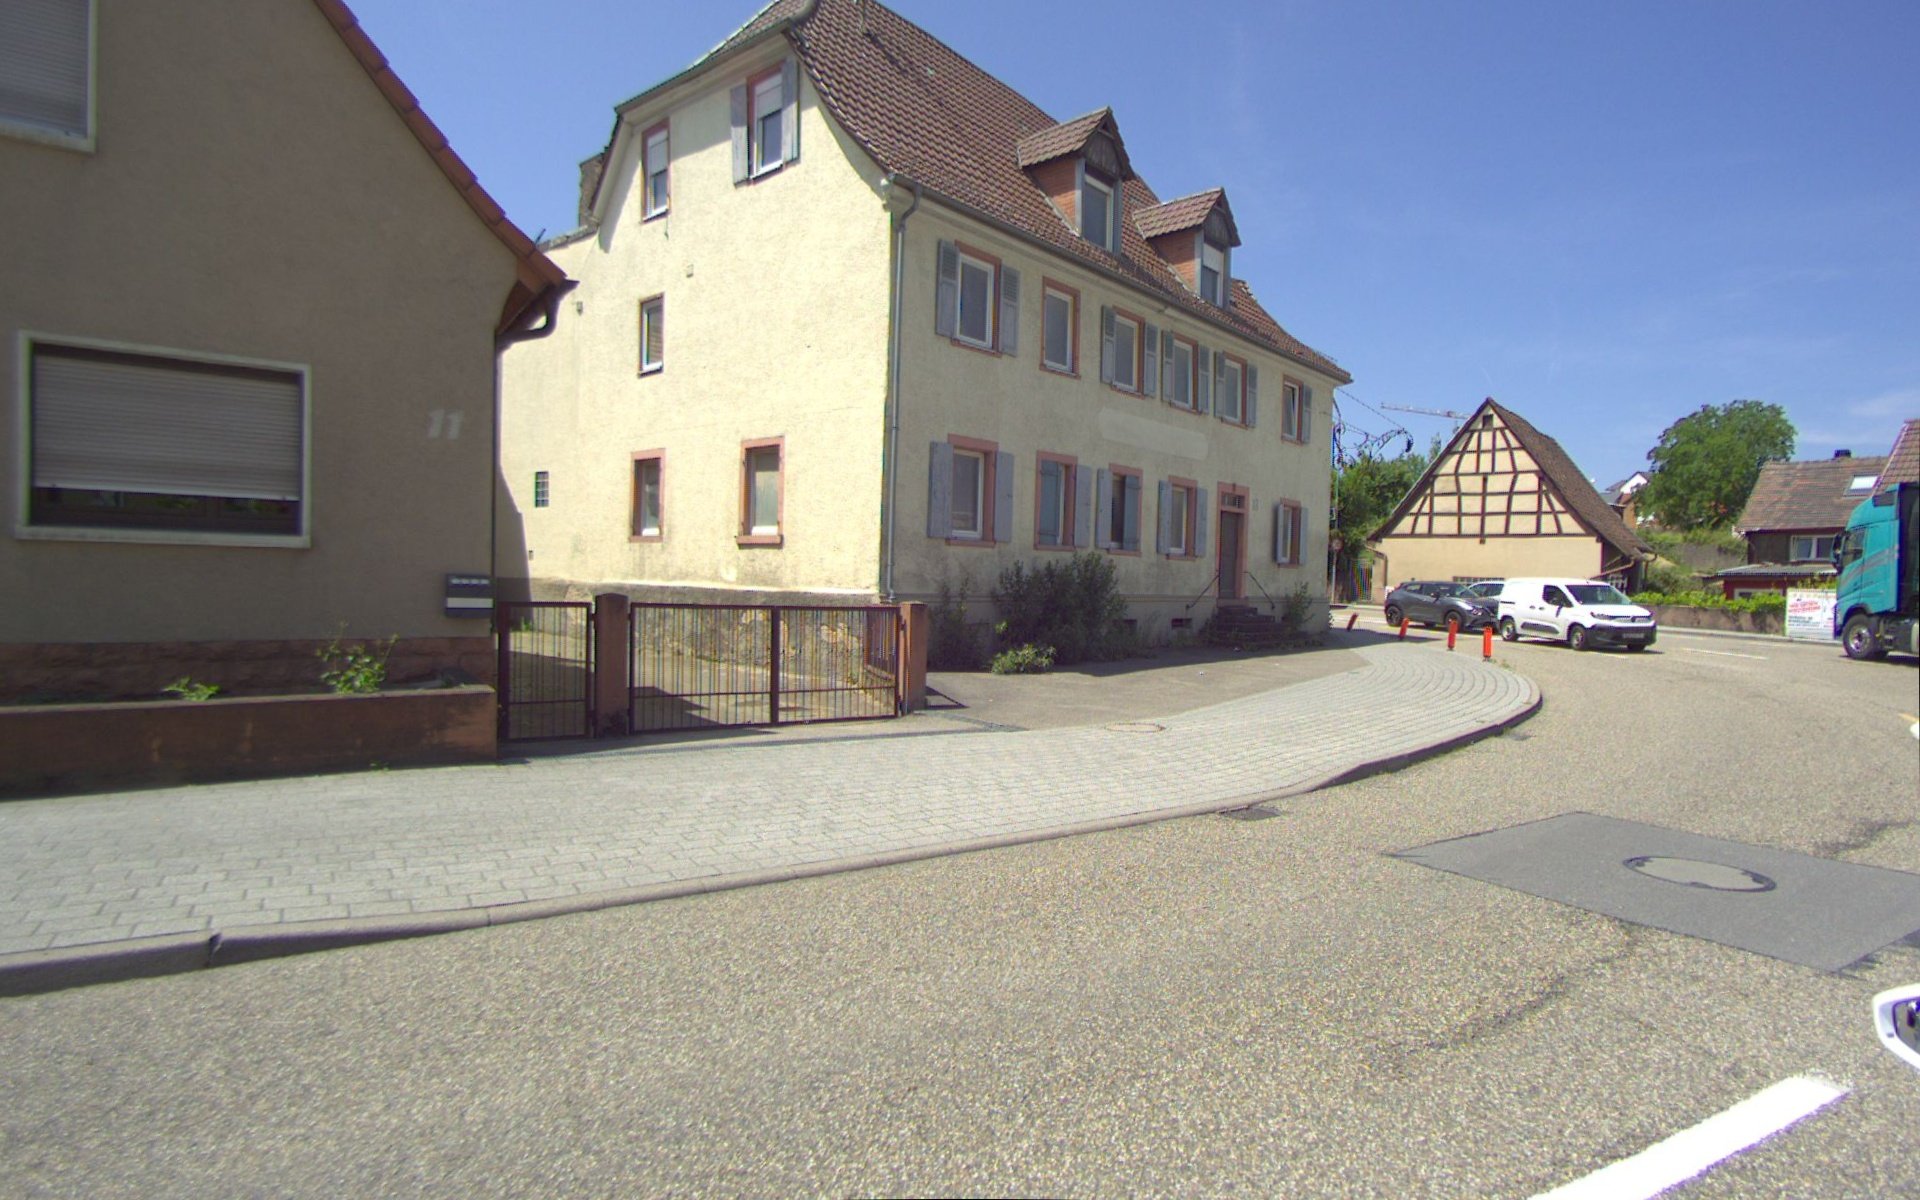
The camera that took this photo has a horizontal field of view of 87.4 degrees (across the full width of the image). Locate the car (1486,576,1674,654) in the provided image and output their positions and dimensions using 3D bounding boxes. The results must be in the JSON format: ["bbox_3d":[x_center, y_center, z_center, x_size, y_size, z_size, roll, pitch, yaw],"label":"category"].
[{"bbox_3d":[16.457,0.323,26.996,1.845,1.809,4.515,1,2,-7],"label":"car"}]

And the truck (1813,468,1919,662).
[{"bbox_3d":[21.662,-0.686,21.578,2.938,4.018,5.579,3,2,18],"label":"truck"}]

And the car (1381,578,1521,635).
[{"bbox_3d":[15.854,0.168,32.684,1.769,1.544,3.983,2,3,-18],"label":"car"}]

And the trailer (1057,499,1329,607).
[{"bbox_3d":[10.316,-2.213,46.380,3.122,4.334,12.328,1,2,-44],"label":"trailer"}]
